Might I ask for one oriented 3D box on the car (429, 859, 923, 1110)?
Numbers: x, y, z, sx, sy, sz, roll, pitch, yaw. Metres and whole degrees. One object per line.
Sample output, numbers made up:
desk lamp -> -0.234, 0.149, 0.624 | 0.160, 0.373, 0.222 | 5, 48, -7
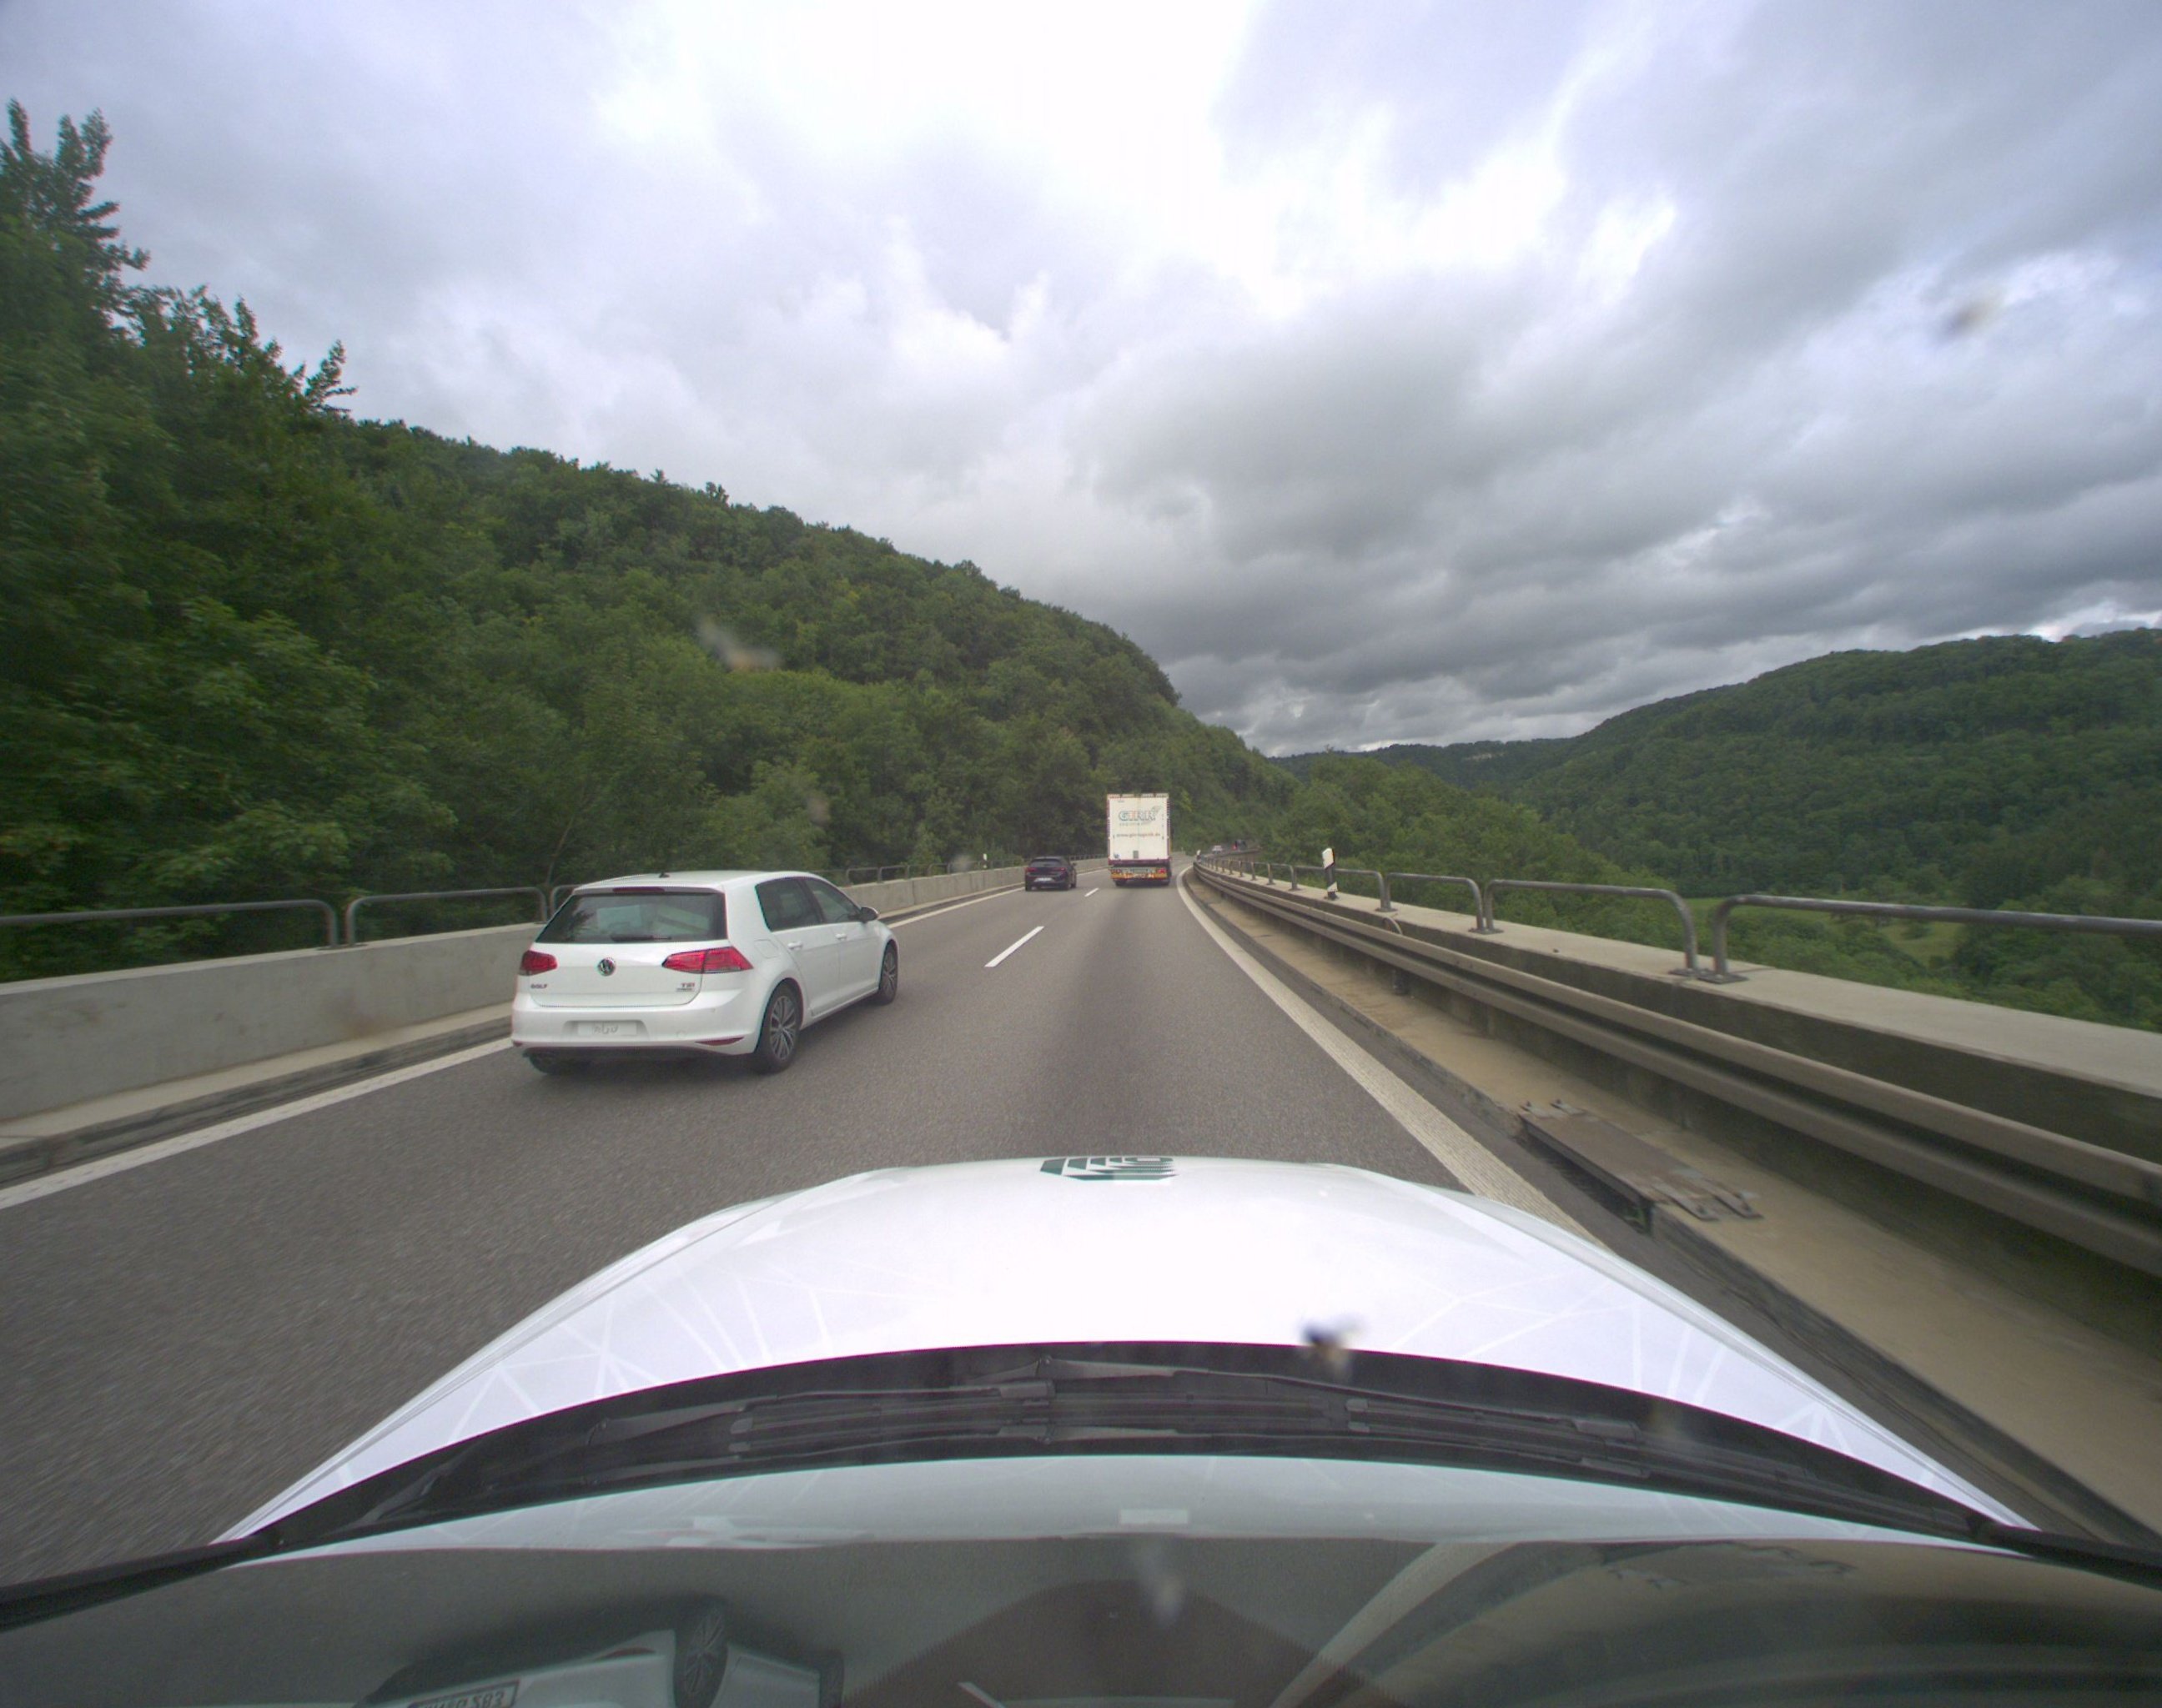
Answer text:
car -> -2.913, 0.806, 7.234 | 1.837, 1.482, 4.632 | -1, 0, 3

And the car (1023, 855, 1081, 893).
car -> -1.134, 0.787, 34.377 | 1.764, 1.461, 4.589 | -1, 0, 6

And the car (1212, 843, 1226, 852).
car -> 25.700, -1.131, 152.012 | 1.978, 1.565, 4.018 | -2, -1, 17

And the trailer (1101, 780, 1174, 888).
trailer -> 3.010, -0.762, 39.602 | 2.798, 4.302, 12.267 | -2, -1, 7

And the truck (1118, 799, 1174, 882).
truck -> 3.765, -0.686, 46.034 | 2.799, 4.302, 6.270 | -2, -1, 7

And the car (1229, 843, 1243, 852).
car -> 29.799, -1.157, 156.267 | 1.976, 1.565, 4.021 | -2, -1, 21
